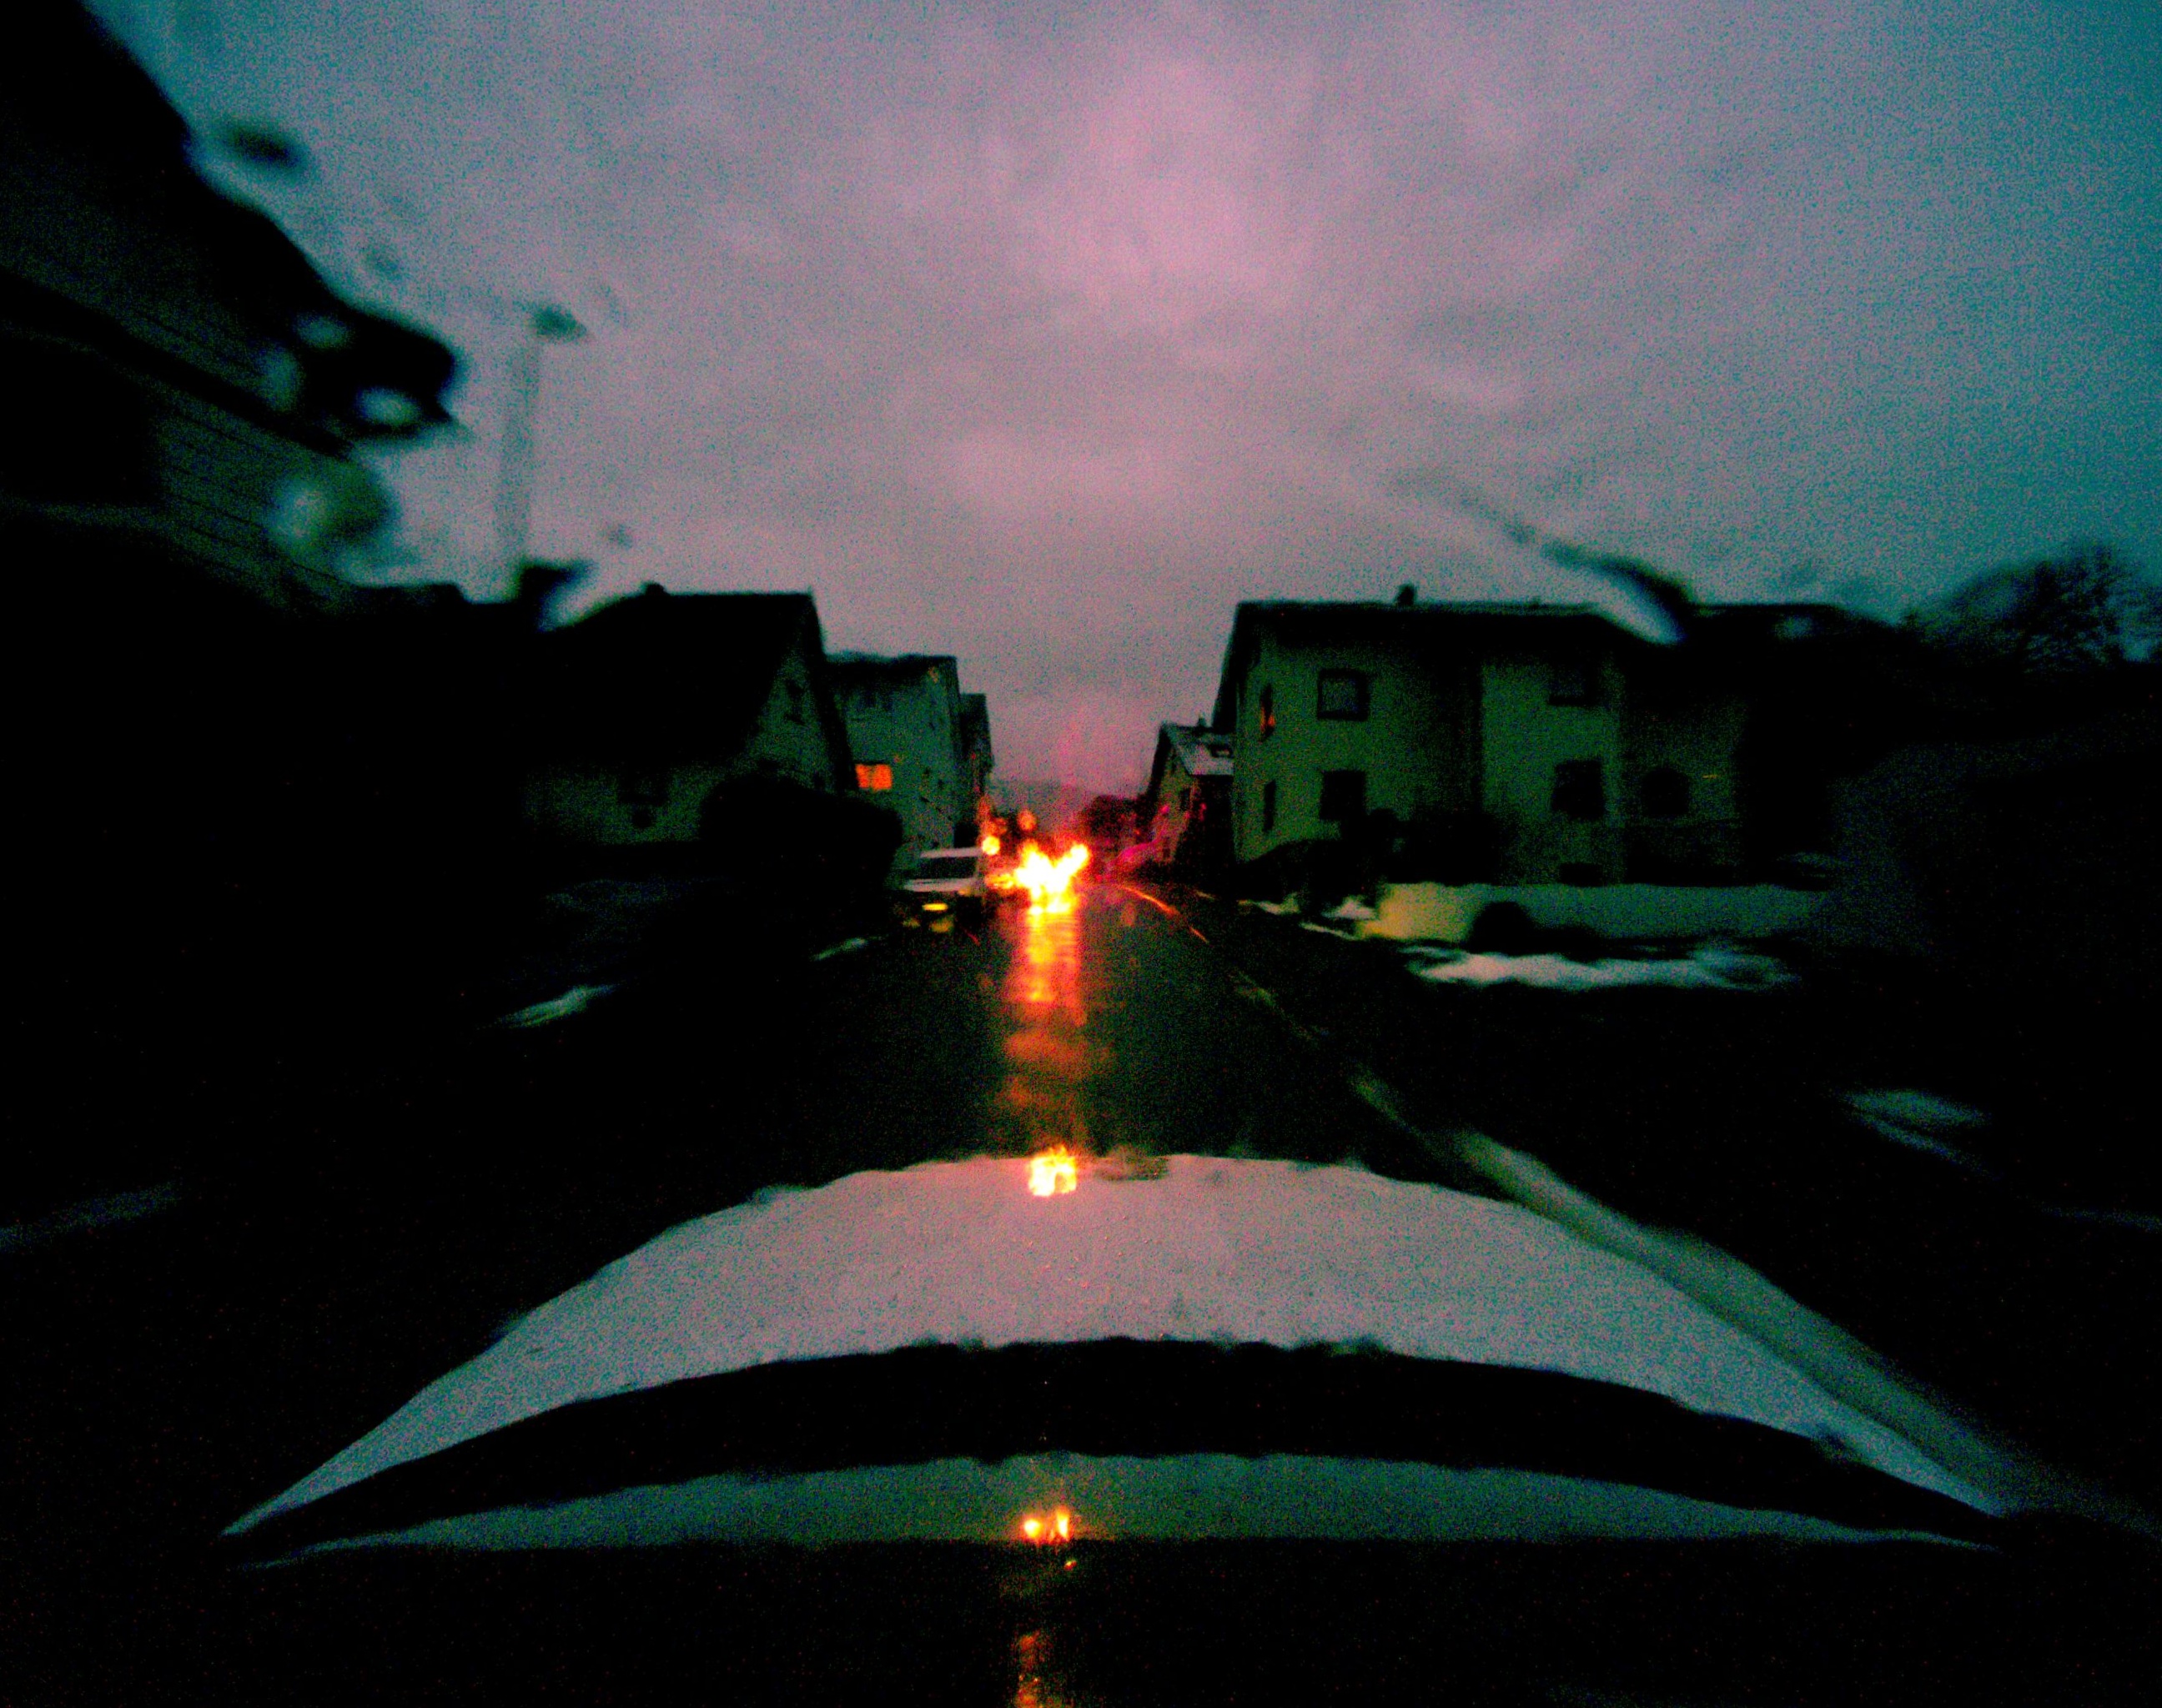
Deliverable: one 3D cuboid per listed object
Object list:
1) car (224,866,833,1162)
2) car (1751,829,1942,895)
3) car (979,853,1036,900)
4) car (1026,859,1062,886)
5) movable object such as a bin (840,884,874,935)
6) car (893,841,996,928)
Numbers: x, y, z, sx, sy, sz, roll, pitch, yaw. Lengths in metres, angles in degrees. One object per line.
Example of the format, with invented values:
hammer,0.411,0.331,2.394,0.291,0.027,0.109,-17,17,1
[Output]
car,-3.602,0.885,6.482,1.787,1.503,4.311,-1,-1,2
car,17.862,0.223,19.021,4.002,1.406,1.723,1,-1,-22
car,-3.019,0.918,34.092,1.987,1.800,3.999,-1,-1,-1
car,-2.347,1.224,52.423,1.986,1.650,4.001,0,-2,2
movable object such as a bin,-4.384,1.073,15.962,0.481,0.917,0.600,3,1,-1
car,-3.171,0.686,19.785,1.821,1.835,4.342,-1,-1,-1
